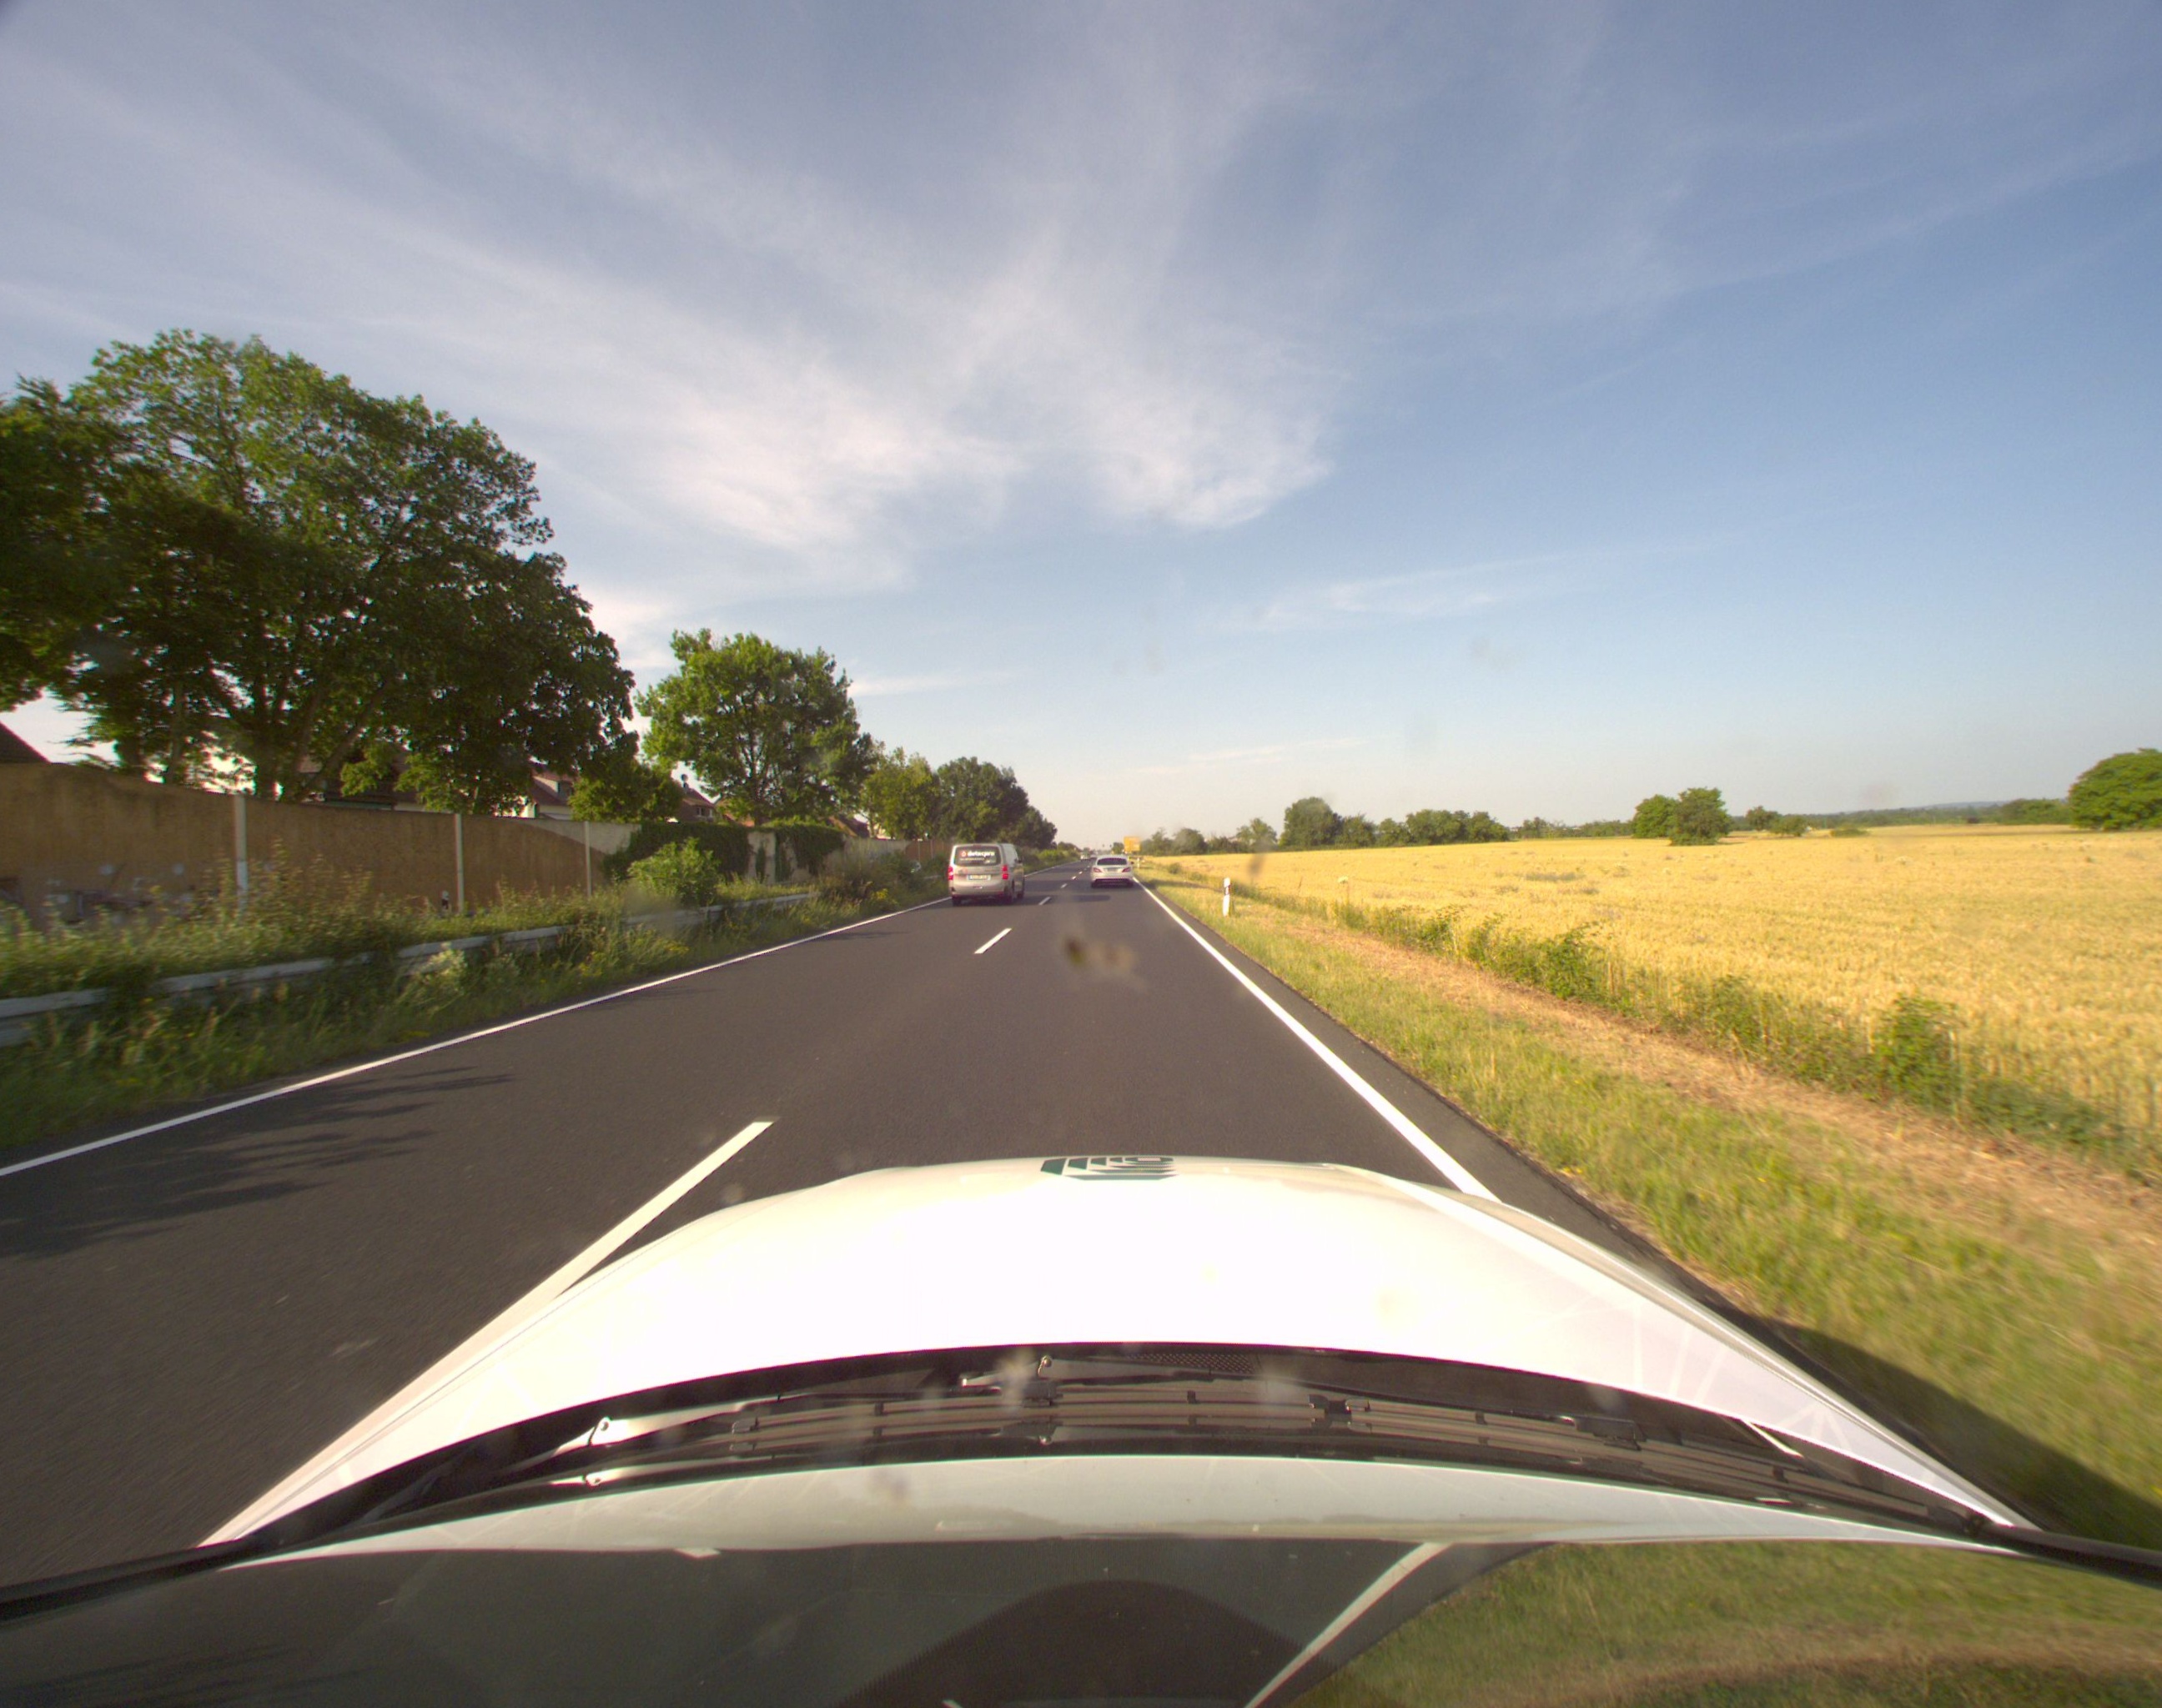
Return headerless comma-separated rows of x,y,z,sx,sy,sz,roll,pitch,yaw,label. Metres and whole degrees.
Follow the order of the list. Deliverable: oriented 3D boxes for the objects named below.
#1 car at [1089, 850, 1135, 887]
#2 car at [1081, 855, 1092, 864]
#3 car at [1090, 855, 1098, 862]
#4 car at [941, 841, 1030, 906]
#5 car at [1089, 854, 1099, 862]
1.377,0.622,36.521,1.887,1.509,4.001,-1,0,2,car
0.936,0.934,141.116,1.710,1.492,3.586,0,0,2,car
2.664,0.888,166.708,1.634,1.410,4.001,0,0,2,car
-2.922,0.561,26.118,2.017,1.892,4.962,0,0,3,car
2.662,0.860,167.492,1.871,1.651,3.664,0,0,0,car
